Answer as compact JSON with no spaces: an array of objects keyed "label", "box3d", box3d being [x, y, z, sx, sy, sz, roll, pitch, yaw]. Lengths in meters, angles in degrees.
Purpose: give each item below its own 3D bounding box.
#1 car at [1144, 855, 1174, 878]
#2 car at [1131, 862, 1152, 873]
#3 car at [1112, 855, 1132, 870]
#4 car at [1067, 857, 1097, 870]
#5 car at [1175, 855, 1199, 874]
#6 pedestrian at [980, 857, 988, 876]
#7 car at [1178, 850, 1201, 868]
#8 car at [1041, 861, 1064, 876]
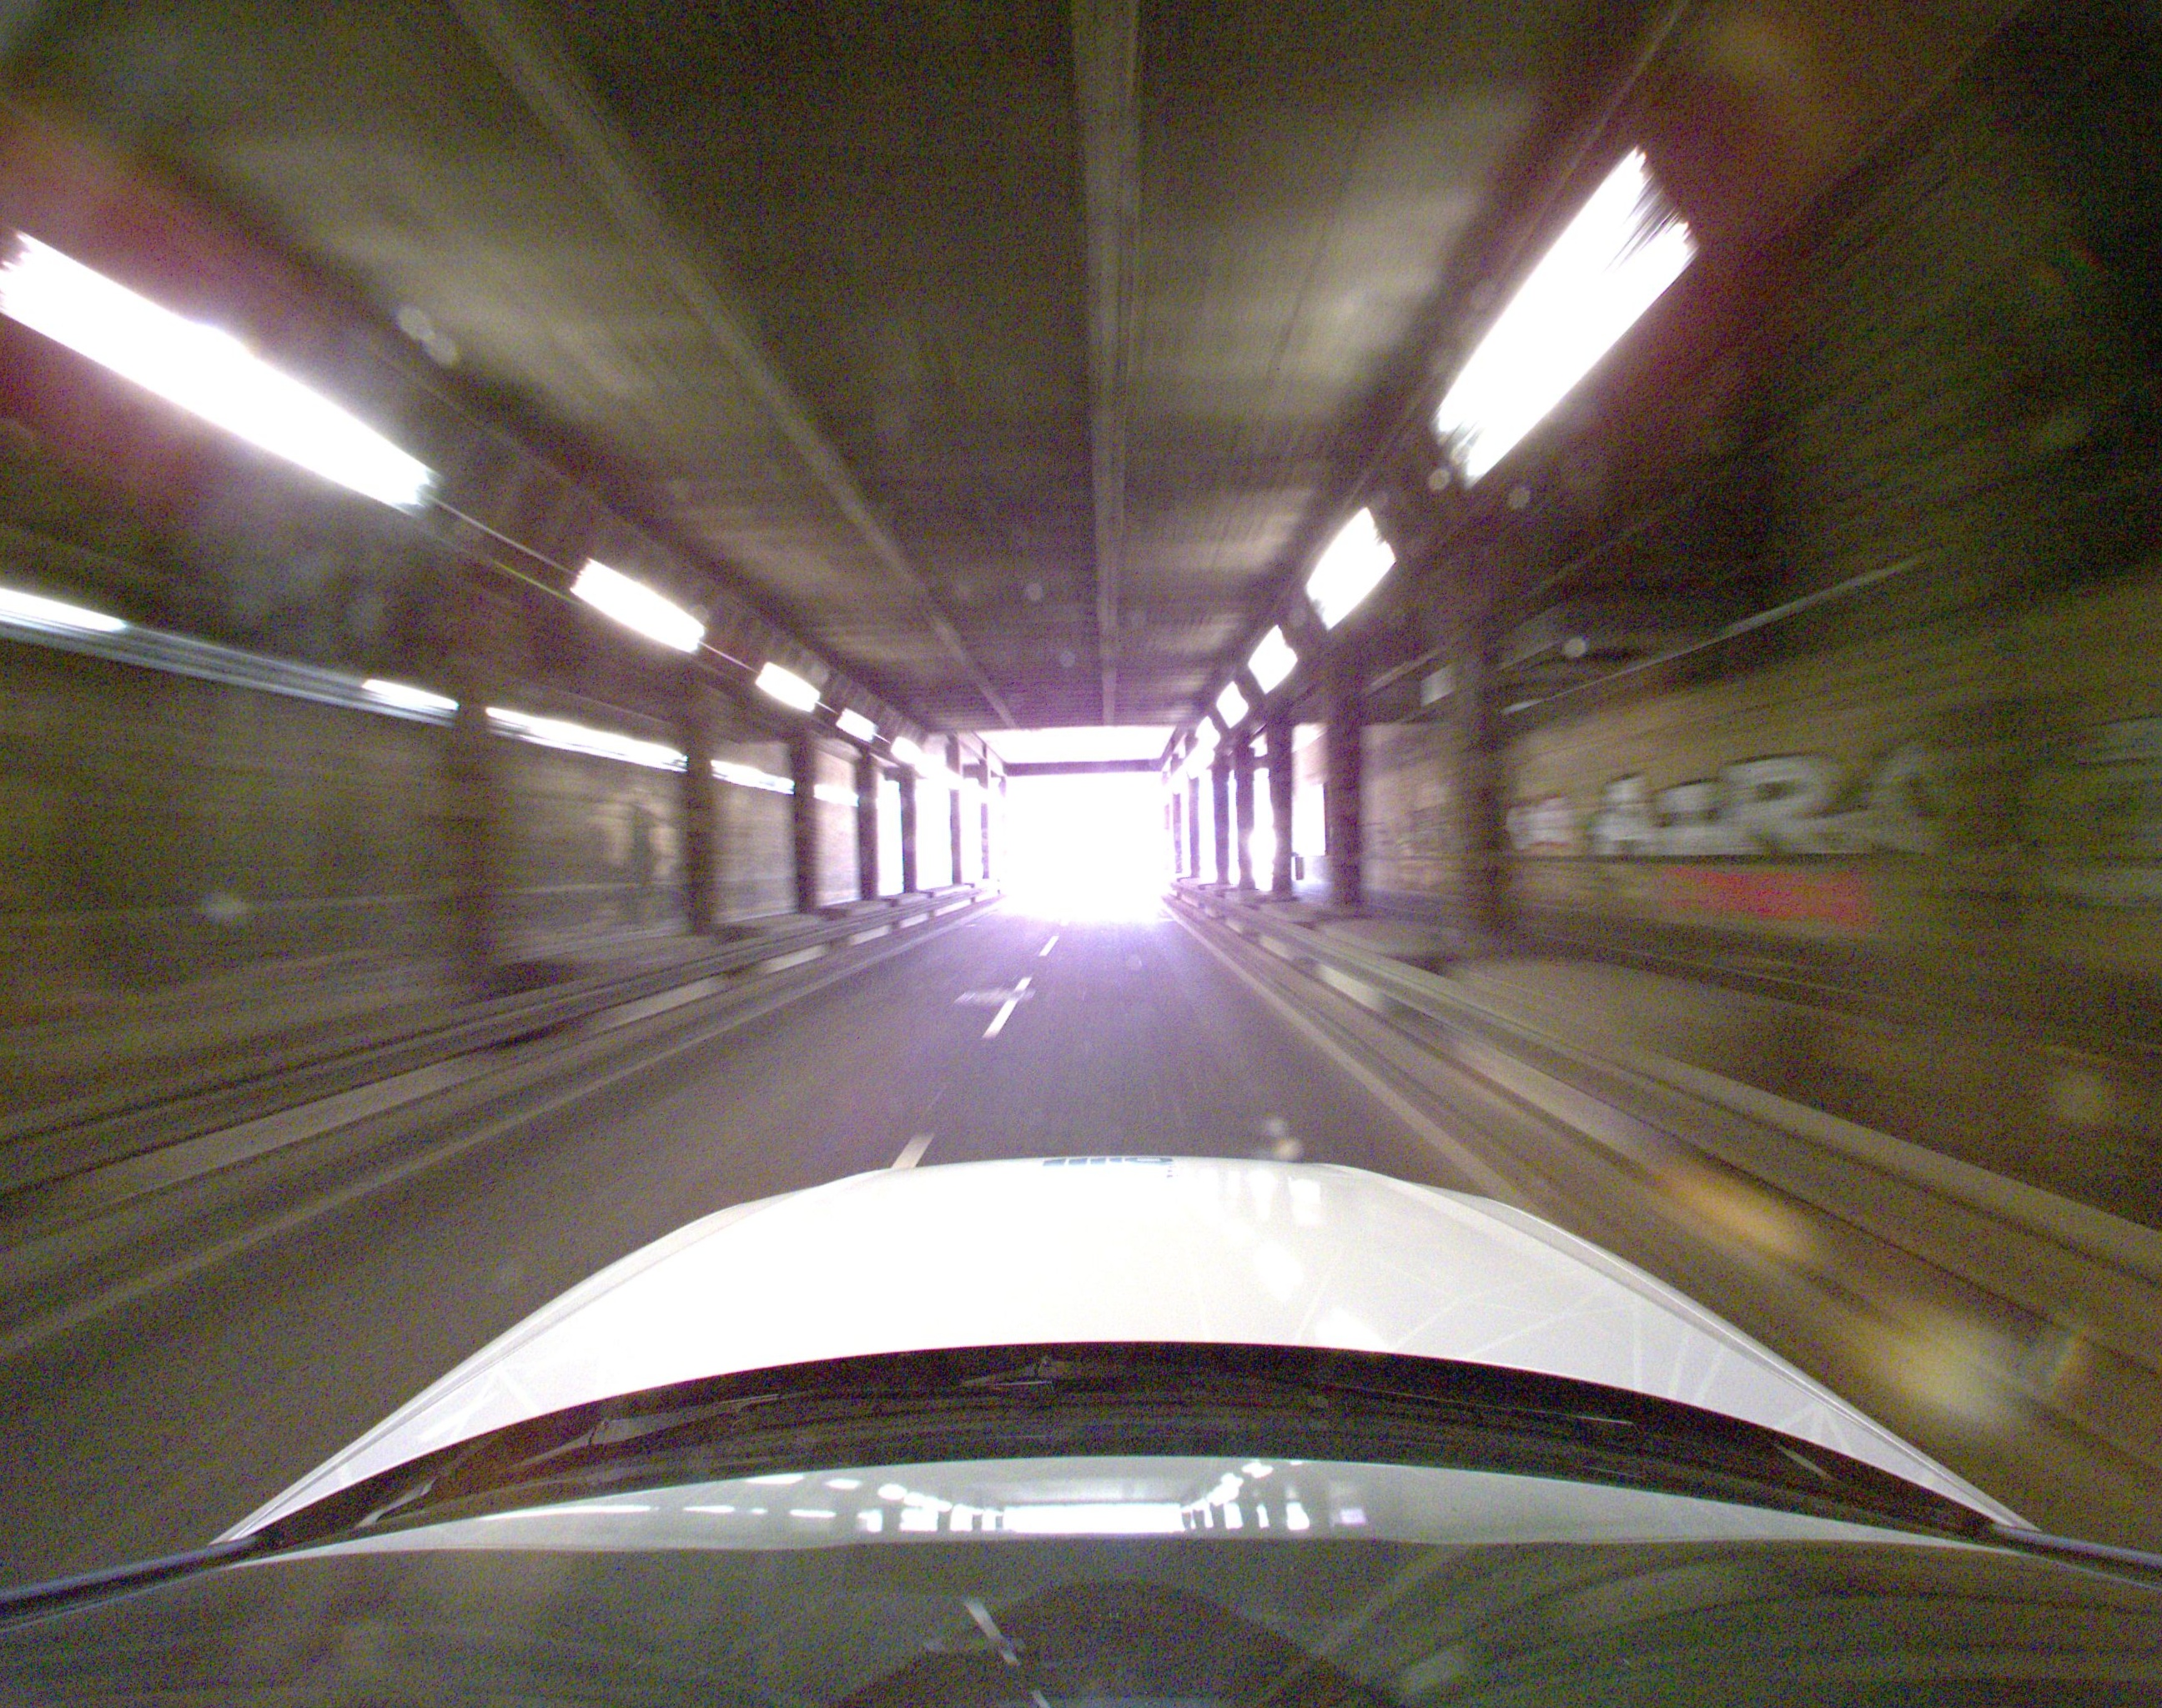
[{"label":"car","box3d":[5.589,0.862,58.748,1.940,1.528,4.092,-1,0,2]},{"label":"car","box3d":[8.352,1.870,111.602,1.795,1.391,4.268,-1,0,19]},{"label":"car","box3d":[3.889,0.786,76.531,1.779,1.394,4.109,-2,0,3]},{"label":"car","box3d":[0.127,1.171,103.471,1.905,1.574,3.905,-2,0,34]},{"label":"car","box3d":[9.050,0.892,69.230,1.719,1.500,4.013,-1,0,12]},{"label":"pedestrian","box3d":[-8.805,1.122,73.618,0.515,1.640,0.620,-1,-1,-25]},{"label":"car","box3d":[10.069,0.448,75.549,1.802,1.582,4.012,-2,-1,11]},{"label":"car","box3d":[-2.758,1.383,79.020,1.744,1.405,4.419,-1,0,3]}]
